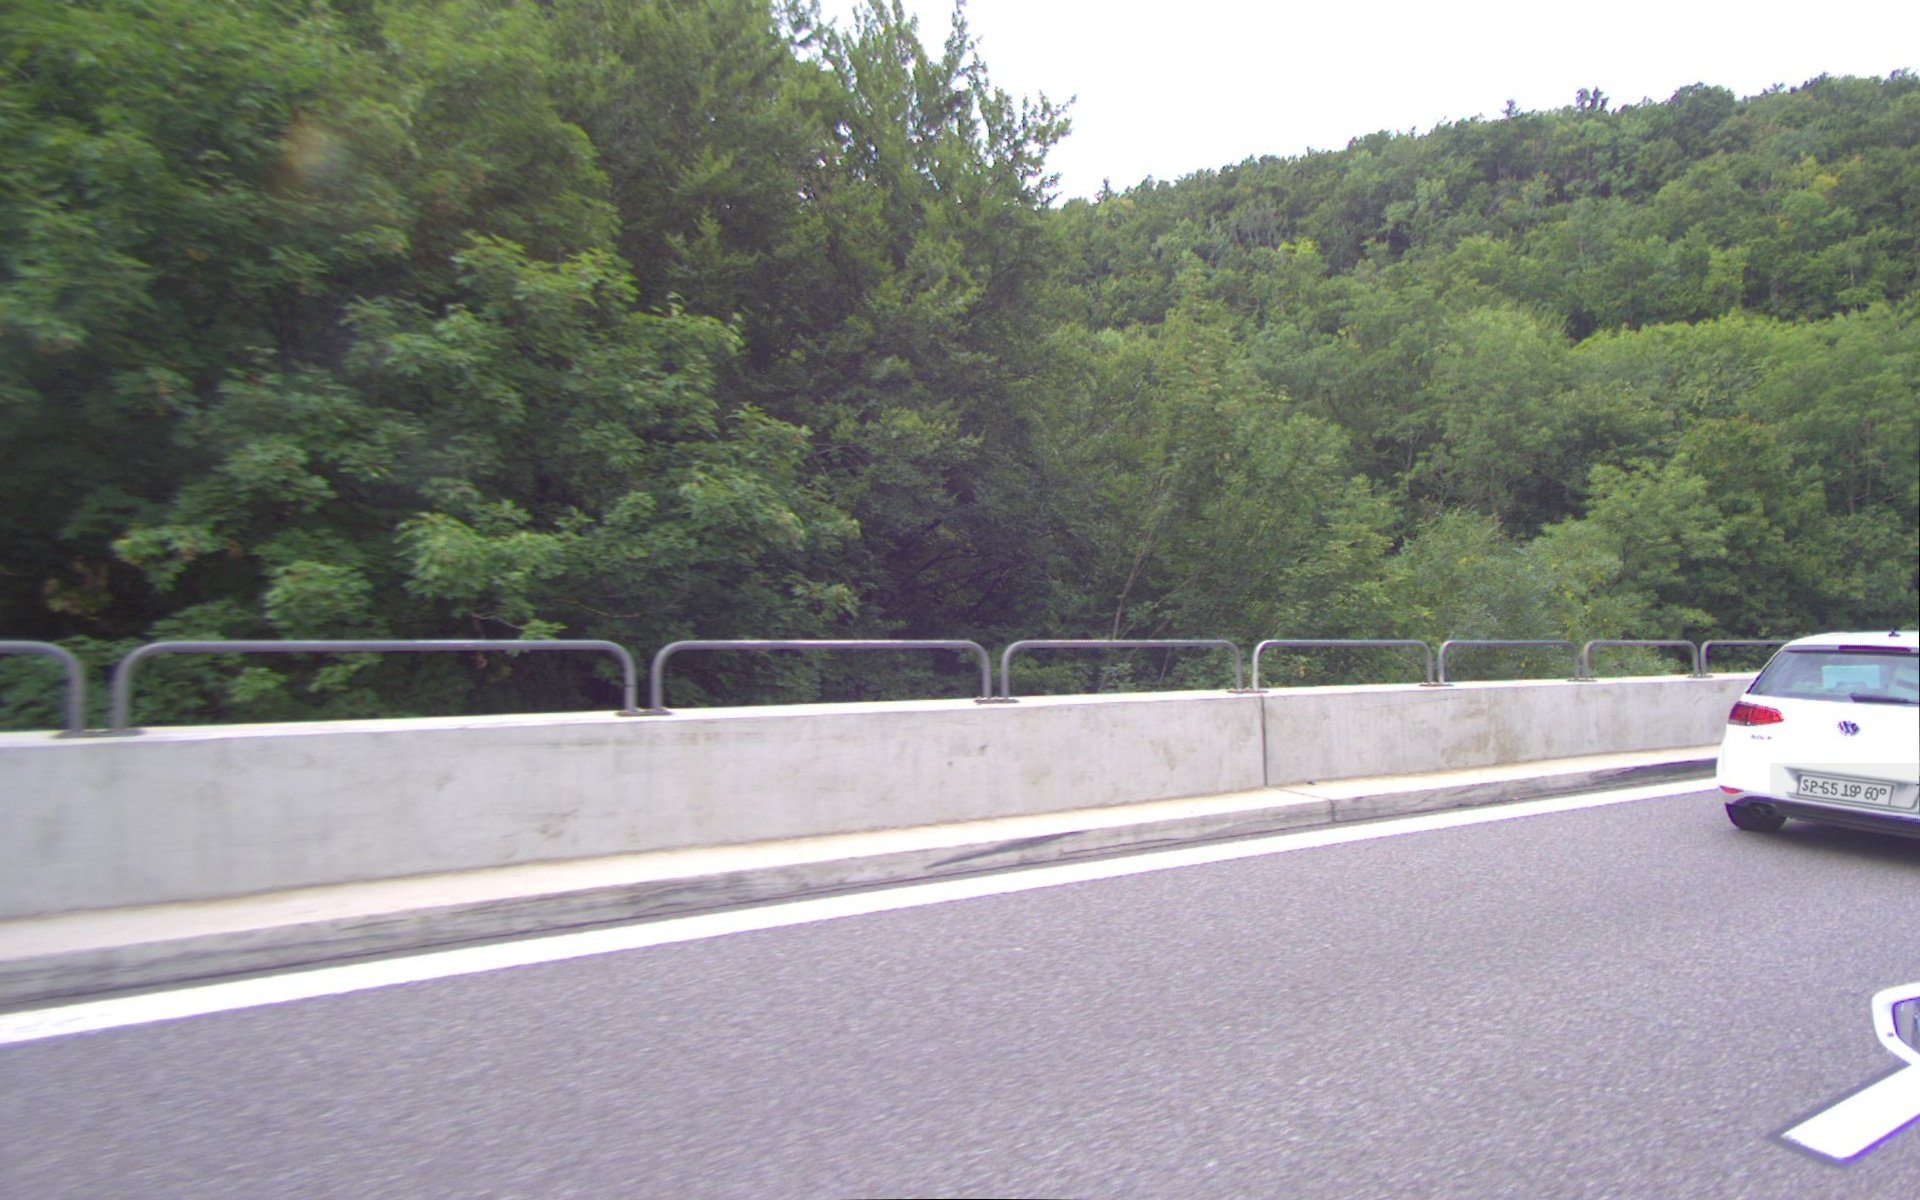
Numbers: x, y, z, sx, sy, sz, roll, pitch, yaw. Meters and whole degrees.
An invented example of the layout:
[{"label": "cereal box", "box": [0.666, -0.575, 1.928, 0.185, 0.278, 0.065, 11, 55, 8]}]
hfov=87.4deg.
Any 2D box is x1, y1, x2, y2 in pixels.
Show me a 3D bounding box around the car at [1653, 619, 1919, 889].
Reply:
[{"label": "car", "box": [7.212, 0.929, 7.230, 4.571, 1.501, 1.837, 1, 0, -29]}]
